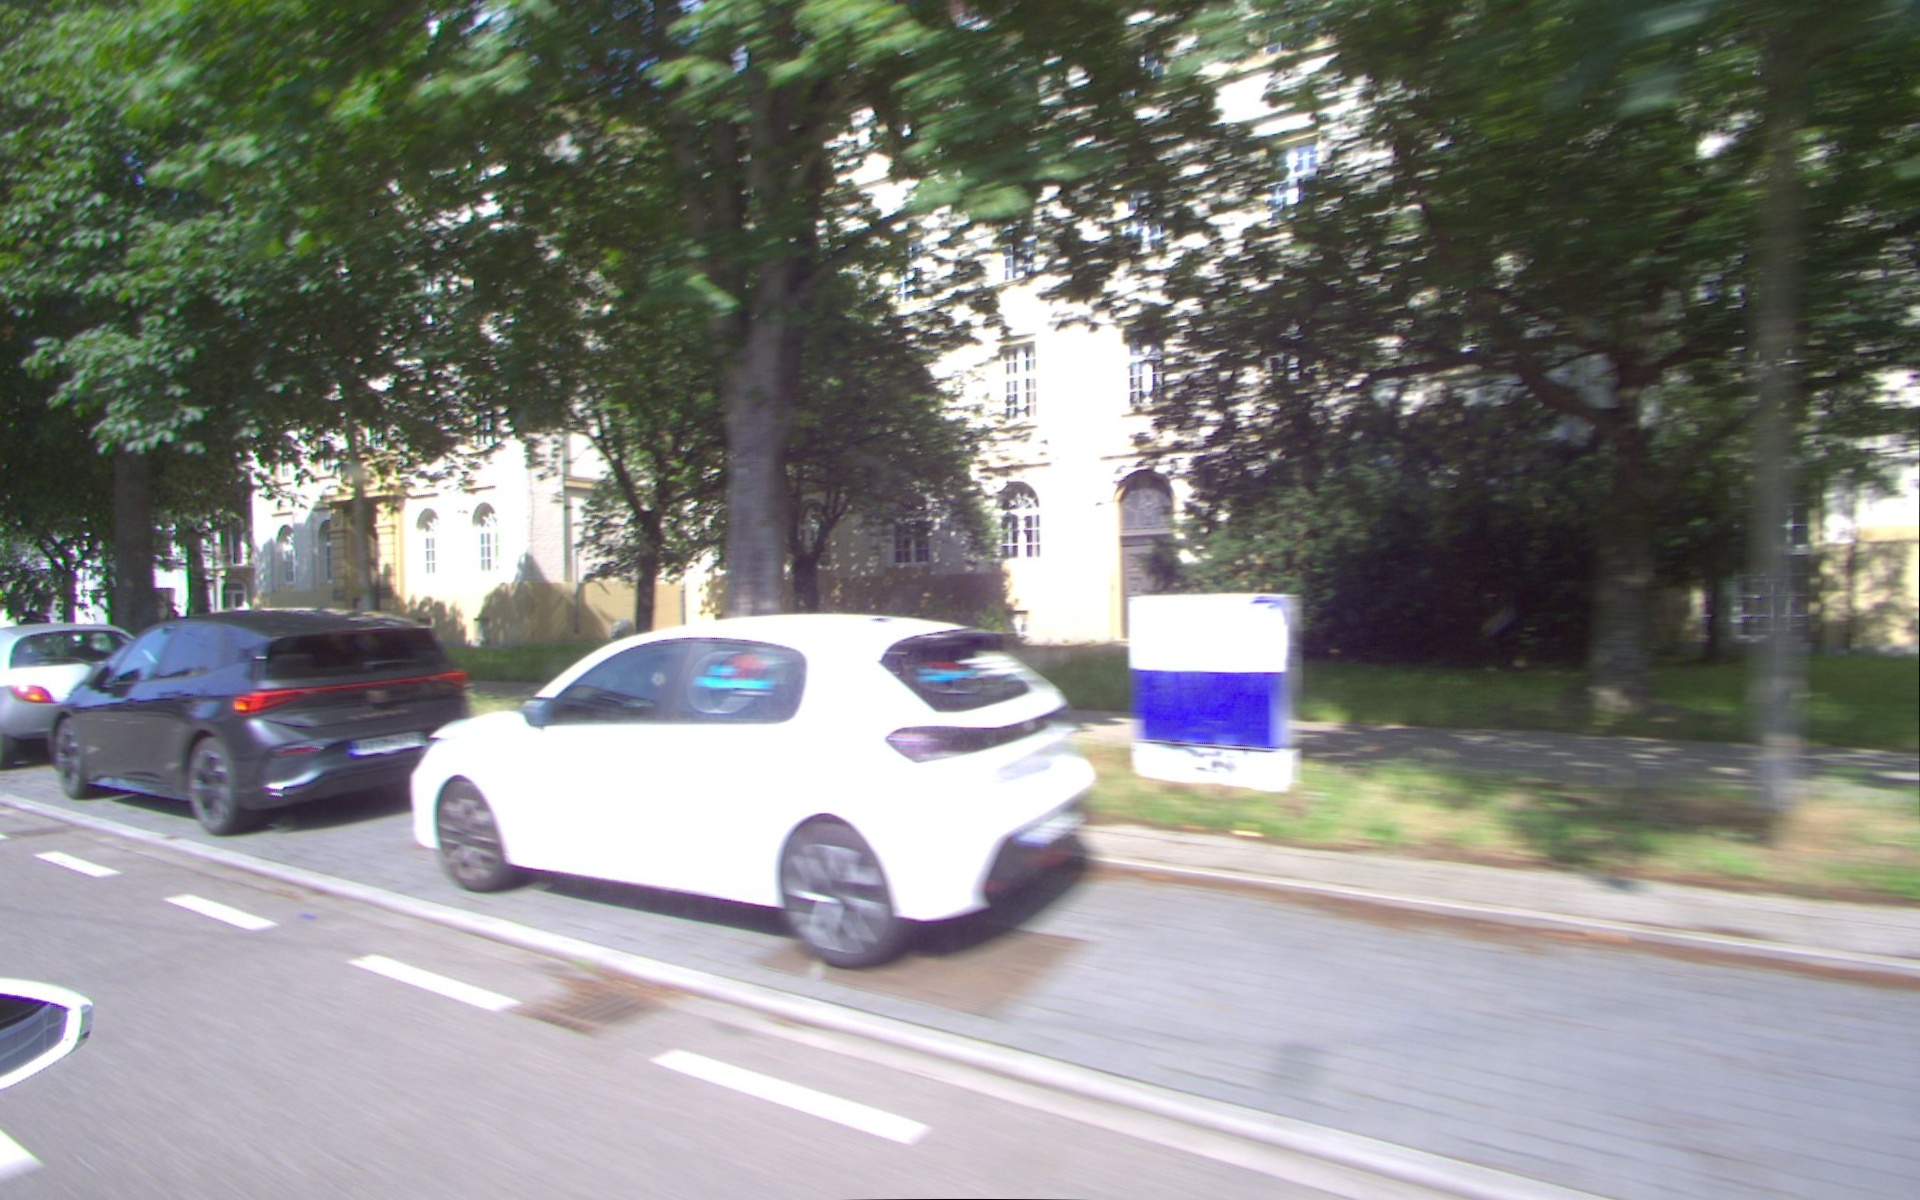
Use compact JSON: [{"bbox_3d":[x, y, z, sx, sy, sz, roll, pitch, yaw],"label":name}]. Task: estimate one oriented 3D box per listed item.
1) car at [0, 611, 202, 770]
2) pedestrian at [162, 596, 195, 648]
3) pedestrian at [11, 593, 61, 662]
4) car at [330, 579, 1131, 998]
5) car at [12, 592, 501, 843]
[{"bbox_3d":[-10.260,0.915,11.242,3.546,1.464,1.587,-1,2,32],"label":"car"},{"bbox_3d":[-24.287,0.682,31.124,0.532,1.617,0.630,-1,1,29],"label":"pedestrian"},{"bbox_3d":[-23.641,0.685,25.625,0.756,1.719,0.742,0,1,32],"label":"pedestrian"},{"bbox_3d":[-1.362,0.731,5.599,4.189,1.544,1.832,-1,2,29],"label":"car"},{"bbox_3d":[-6.071,0.784,8.475,4.610,1.605,1.720,-1,1,33],"label":"car"}]
